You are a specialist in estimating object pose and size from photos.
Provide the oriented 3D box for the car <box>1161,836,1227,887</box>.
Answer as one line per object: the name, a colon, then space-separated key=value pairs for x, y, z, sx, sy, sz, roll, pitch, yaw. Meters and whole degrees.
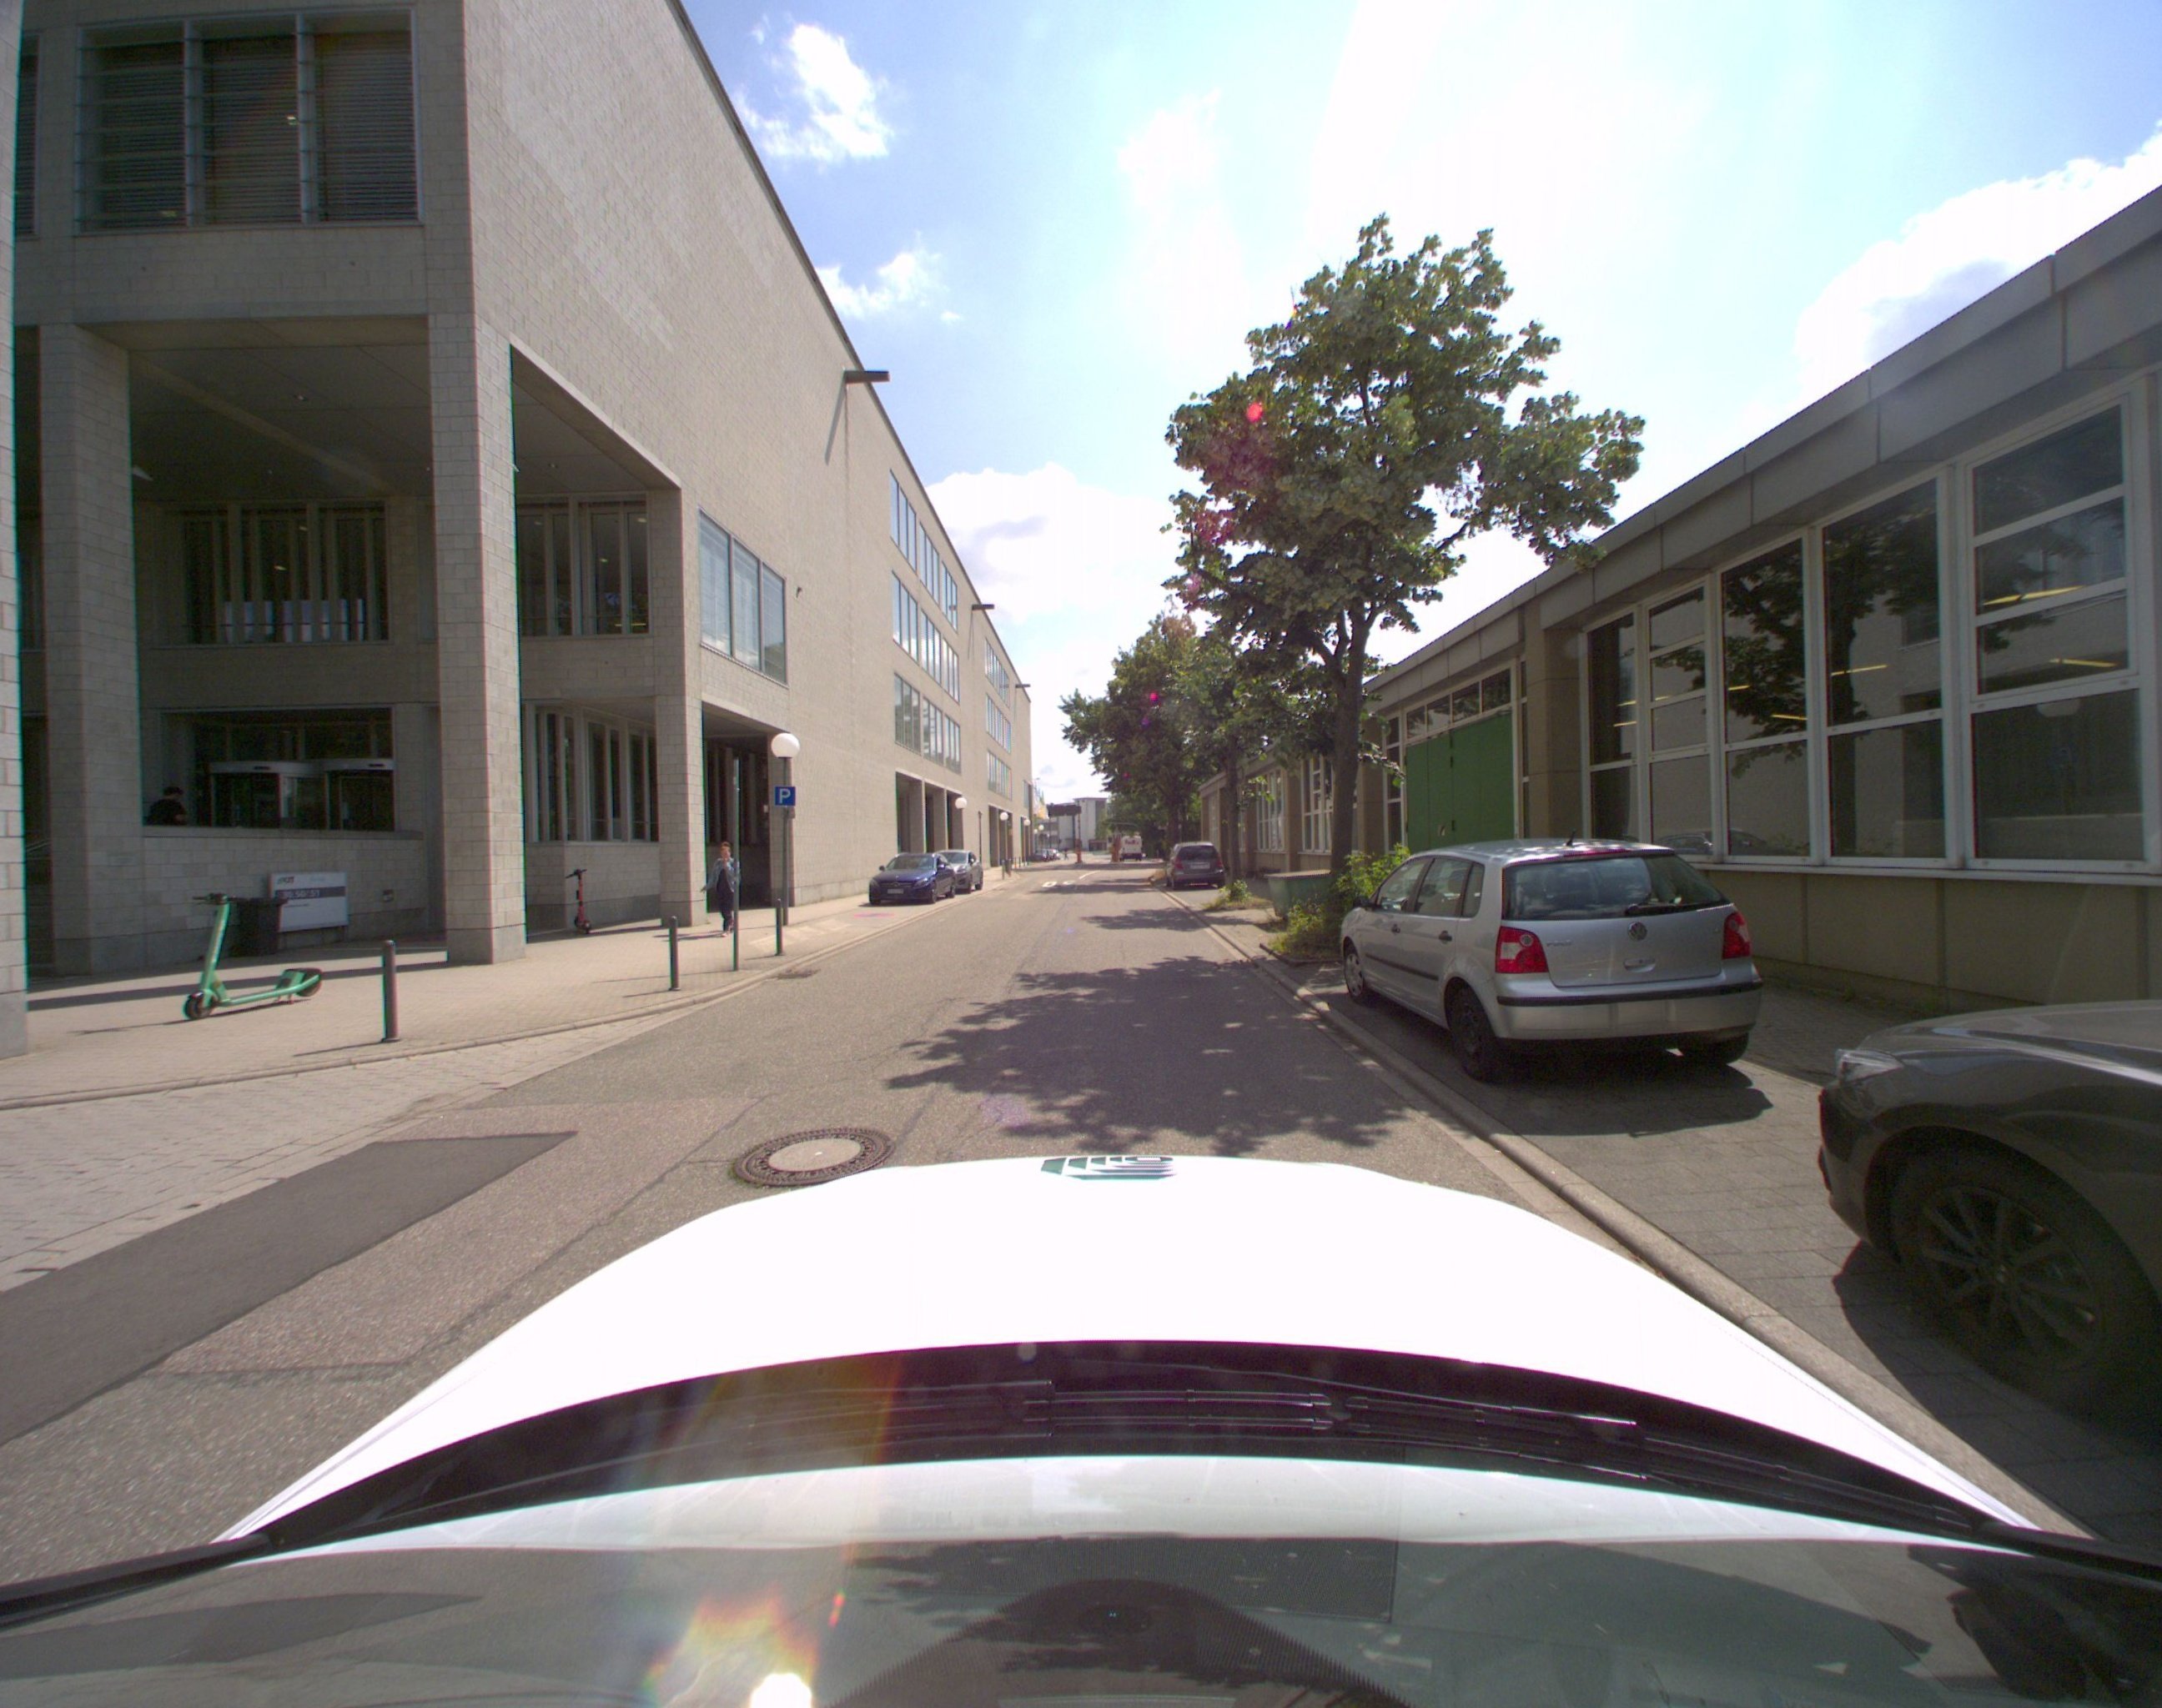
car: x=3.913 y=0.230 z=28.830 sx=1.851 sy=1.574 sz=4.002 roll=-3 pitch=0 yaw=2

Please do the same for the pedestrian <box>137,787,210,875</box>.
pedestrian: x=-17.662 y=-0.433 z=15.857 sx=0.628 sy=1.661 sz=0.697 roll=-1 pitch=0 yaw=15

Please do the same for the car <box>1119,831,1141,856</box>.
car: x=5.040 y=-1.059 z=83.777 sx=2.076 sy=2.539 sz=4.317 roll=-1 pitch=1 yaw=1

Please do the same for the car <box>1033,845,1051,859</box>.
car: x=-4.247 y=-0.203 z=89.348 sx=1.640 sy=1.498 sz=3.729 roll=-2 pitch=-1 yaw=1

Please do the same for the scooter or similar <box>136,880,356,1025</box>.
scooter or similar: x=-8.187 y=0.907 z=8.083 sx=0.452 sy=1.223 sz=1.551 roll=-1 pitch=1 yaw=5

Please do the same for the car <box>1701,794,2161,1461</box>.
car: x=3.235 y=0.582 z=0.884 sx=1.774 sy=1.476 sz=4.464 roll=-3 pitch=1 yaw=2

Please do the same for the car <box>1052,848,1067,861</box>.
car: x=-2.626 y=0.019 z=101.861 sx=1.640 sy=1.498 sz=3.729 roll=-2 pitch=-1 yaw=1

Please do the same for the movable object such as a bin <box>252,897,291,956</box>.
movable object such as a bin: x=-13.053 y=1.159 z=13.141 sx=0.168 sy=0.895 sz=0.448 roll=-2 pitch=0 yaw=-4

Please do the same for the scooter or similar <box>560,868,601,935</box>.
scooter or similar: x=-9.689 y=0.885 z=15.745 sx=0.529 sy=1.210 sz=1.541 roll=-2 pitch=1 yaw=-36

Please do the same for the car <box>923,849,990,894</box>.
car: x=-4.470 y=0.586 z=29.807 sx=1.624 sy=1.484 sz=4.180 roll=-1 pitch=0 yaw=2

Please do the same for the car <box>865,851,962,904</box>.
car: x=-4.917 y=0.632 z=24.501 sx=1.759 sy=1.427 sz=4.238 roll=-1 pitch=0 yaw=3

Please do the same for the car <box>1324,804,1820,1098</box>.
car: x=3.185 y=0.503 z=6.245 sx=1.610 sy=1.538 sz=3.782 roll=-1 pitch=1 yaw=2

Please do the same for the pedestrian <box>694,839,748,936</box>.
pedestrian: x=-6.584 y=0.591 z=14.933 sx=0.649 sy=1.701 sz=0.887 roll=-2 pitch=0 yaw=-9
